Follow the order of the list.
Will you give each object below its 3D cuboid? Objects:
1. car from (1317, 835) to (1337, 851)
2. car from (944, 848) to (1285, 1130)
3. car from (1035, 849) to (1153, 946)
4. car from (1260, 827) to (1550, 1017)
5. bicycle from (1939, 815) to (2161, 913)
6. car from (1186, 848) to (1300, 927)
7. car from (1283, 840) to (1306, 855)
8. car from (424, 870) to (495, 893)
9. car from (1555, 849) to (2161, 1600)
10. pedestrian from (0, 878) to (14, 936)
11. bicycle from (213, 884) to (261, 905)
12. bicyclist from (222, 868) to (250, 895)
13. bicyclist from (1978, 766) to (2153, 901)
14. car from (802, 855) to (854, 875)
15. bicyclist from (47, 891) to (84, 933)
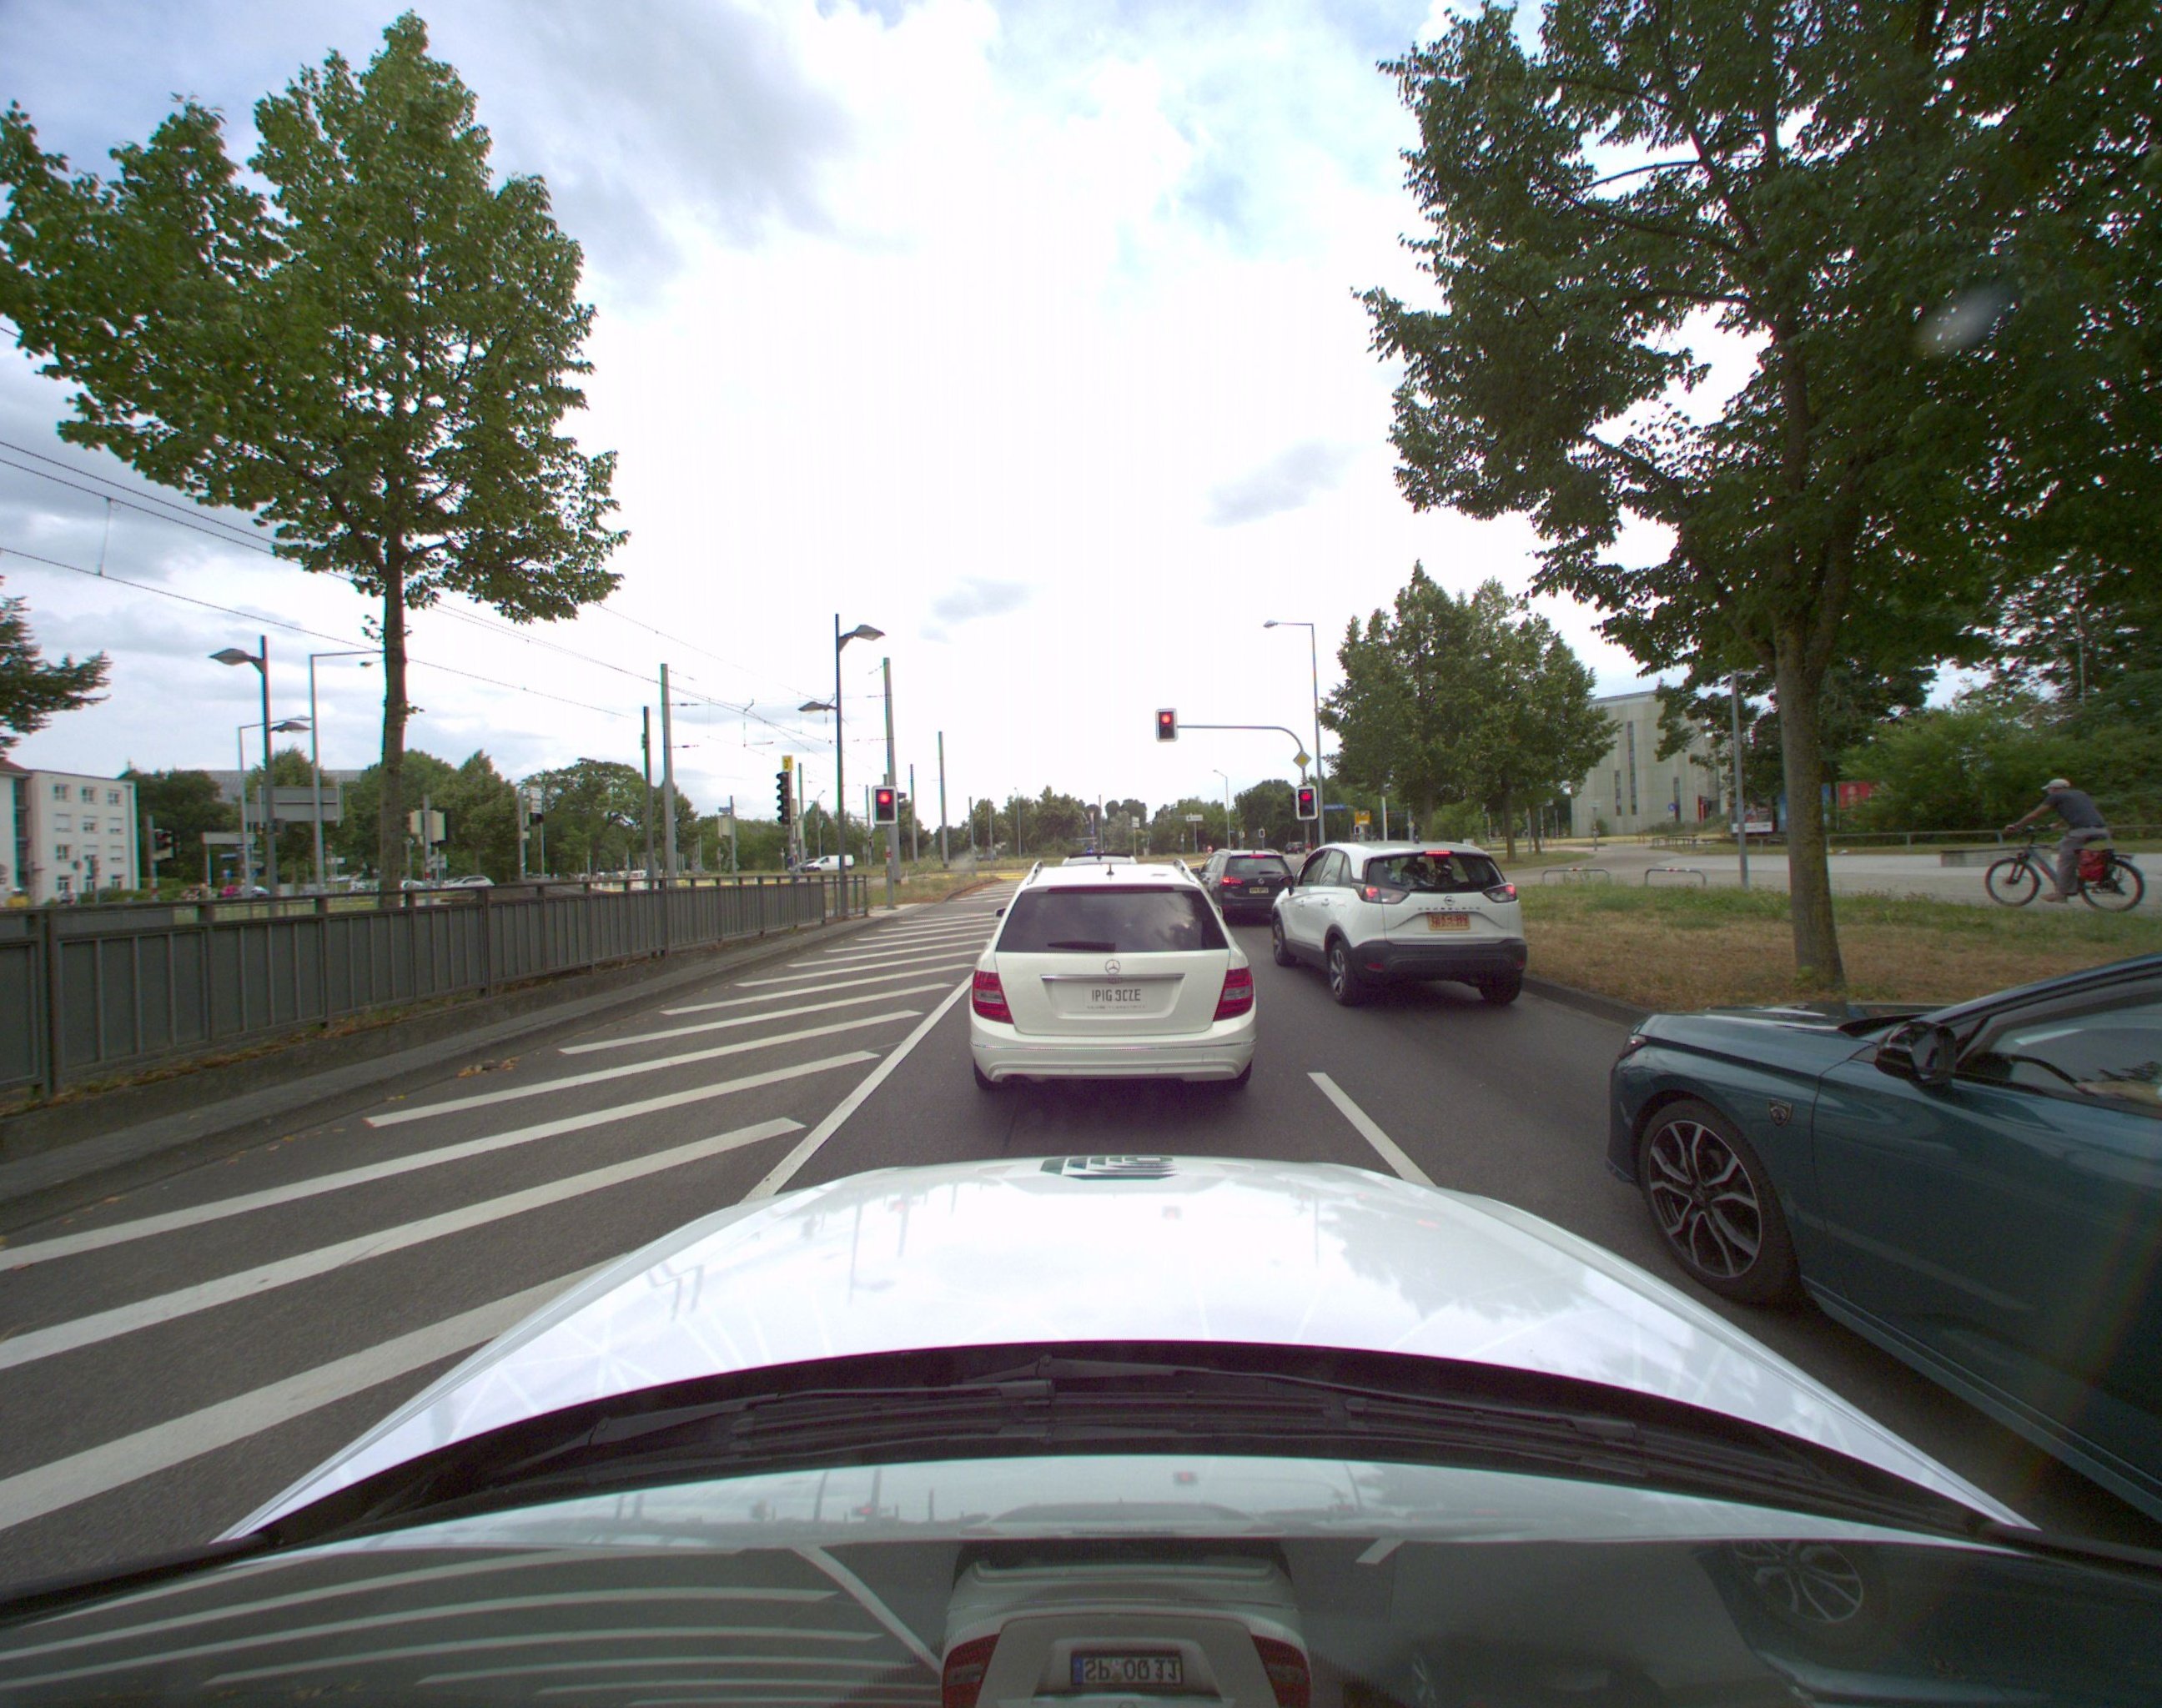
[{"bbox_3d":[28.337,-1.261,93.842,1.771,1.636,4.416,-2,0,11],"label":"car"},{"bbox_3d":[0.178,0.694,6.218,1.768,1.448,3.910,-1,0,0],"label":"car"},{"bbox_3d":[0.200,0.655,14.296,1.768,1.448,3.910,-1,0,0],"label":"car"},{"bbox_3d":[3.302,0.596,9.177,1.780,1.624,3.912,-2,0,2],"label":"car"},{"bbox_3d":[13.923,0.116,11.651,0.899,1.235,2.268,-2,0,0],"label":"bicycle"},{"bbox_3d":[3.291,0.614,17.218,1.619,1.448,3.910,-1,0,0],"label":"car"},{"bbox_3d":[26.862,-0.778,102.381,1.975,1.791,4.023,0,0,26],"label":"car"},{"bbox_3d":[-49.760,2.208,65.250,1.974,1.641,4.026,-2,0,33],"label":"car"},{"bbox_3d":[2.987,0.723,1.381,1.782,1.432,4.308,-1,0,-1],"label":"car"},{"bbox_3d":[-34.963,1.707,26.167,0.652,1.850,0.486,-2,0,-36],"label":"pedestrian"},{"bbox_3d":[-52.004,2.462,50.209,0.809,1.129,2.692,-2,0,-17],"label":"bicycle"},{"bbox_3d":[-51.988,1.696,50.118,0.890,1.562,0.746,-2,0,-16],"label":"bicyclist"},{"bbox_3d":[13.862,-0.279,11.518,0.993,1.737,1.129,-5,0,0],"label":"bicyclist"},{"bbox_3d":[-27.524,1.189,88.783,5.019,2.013,1.979,-2,0,-34],"label":"car"},{"bbox_3d":[-46.628,2.637,37.413,0.835,1.834,0.775,-2,0,-36],"label":"bicyclist"}]
